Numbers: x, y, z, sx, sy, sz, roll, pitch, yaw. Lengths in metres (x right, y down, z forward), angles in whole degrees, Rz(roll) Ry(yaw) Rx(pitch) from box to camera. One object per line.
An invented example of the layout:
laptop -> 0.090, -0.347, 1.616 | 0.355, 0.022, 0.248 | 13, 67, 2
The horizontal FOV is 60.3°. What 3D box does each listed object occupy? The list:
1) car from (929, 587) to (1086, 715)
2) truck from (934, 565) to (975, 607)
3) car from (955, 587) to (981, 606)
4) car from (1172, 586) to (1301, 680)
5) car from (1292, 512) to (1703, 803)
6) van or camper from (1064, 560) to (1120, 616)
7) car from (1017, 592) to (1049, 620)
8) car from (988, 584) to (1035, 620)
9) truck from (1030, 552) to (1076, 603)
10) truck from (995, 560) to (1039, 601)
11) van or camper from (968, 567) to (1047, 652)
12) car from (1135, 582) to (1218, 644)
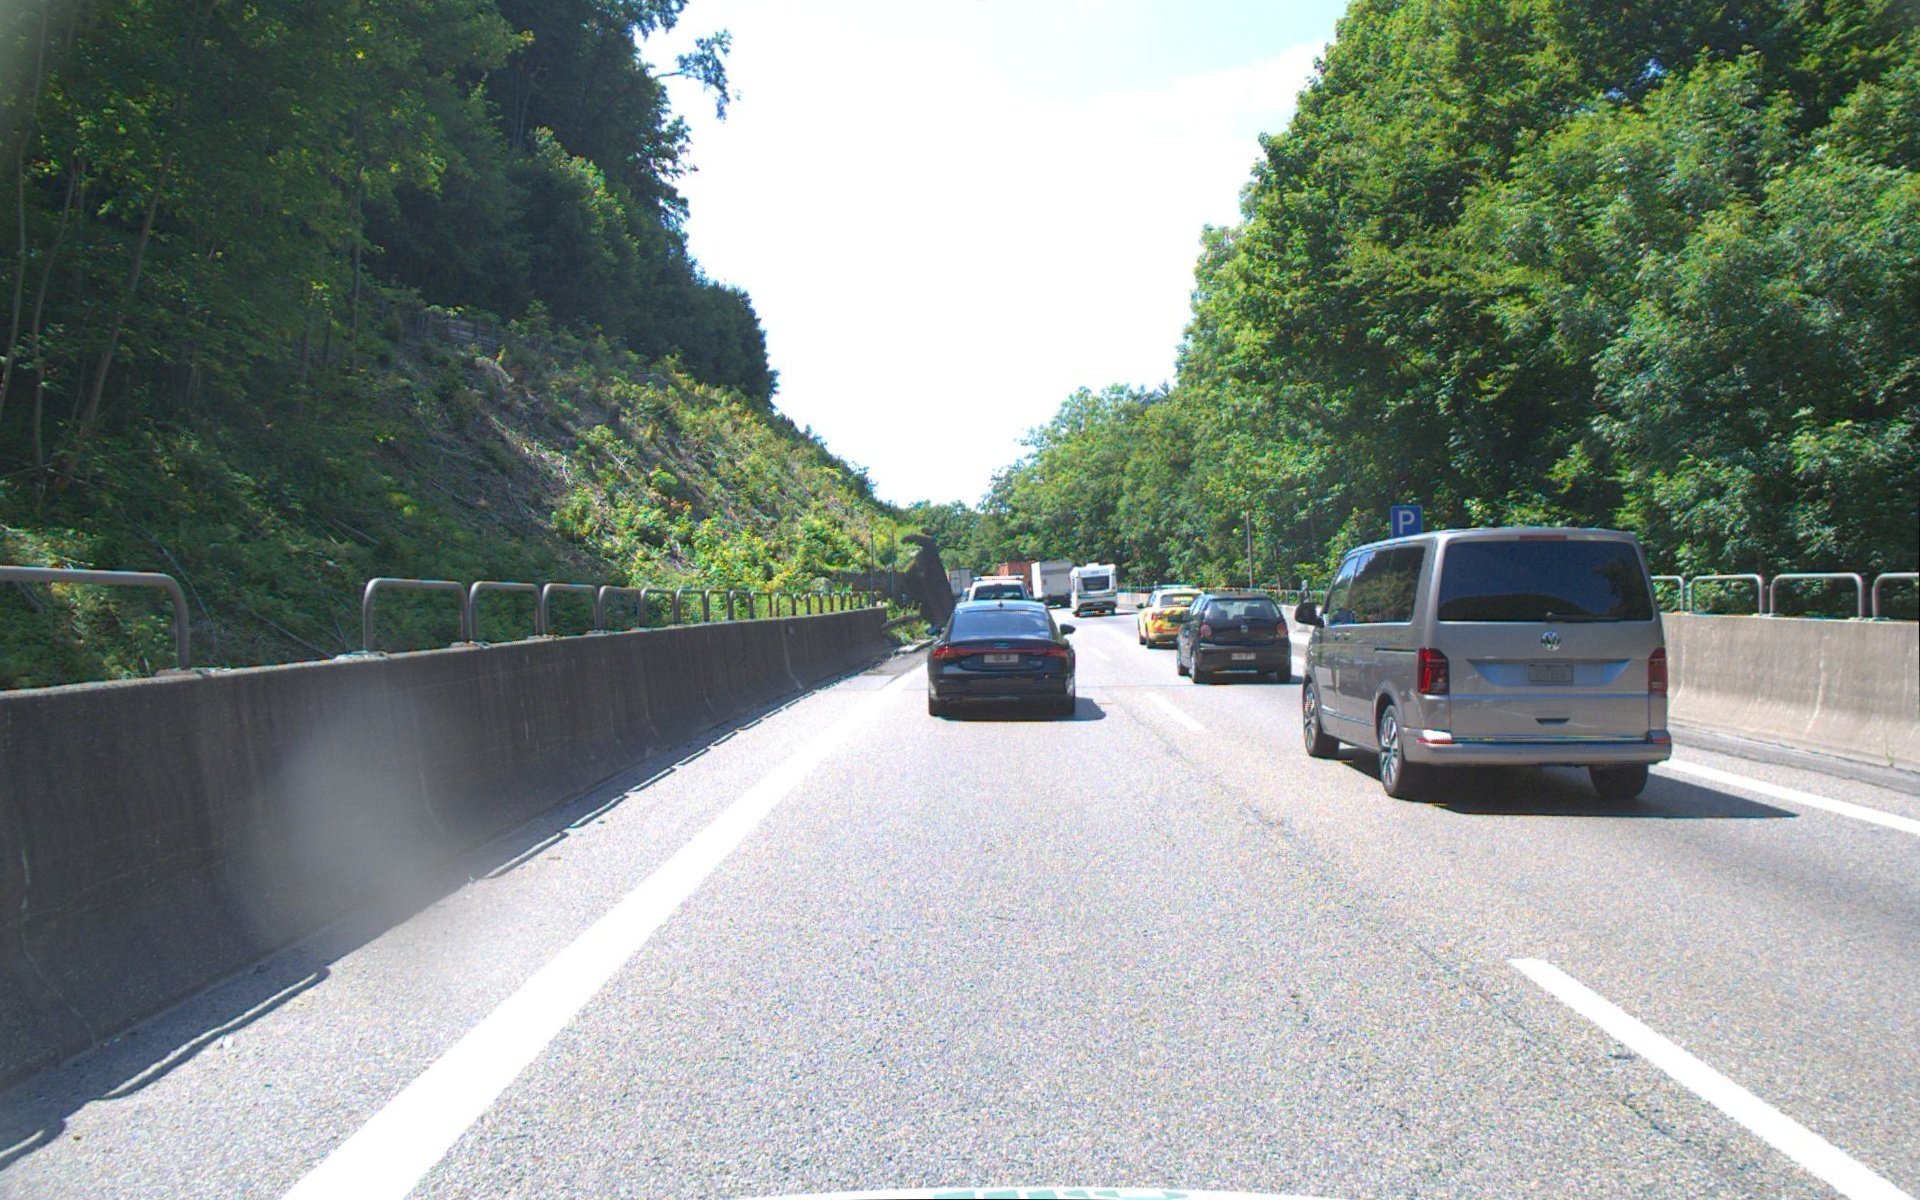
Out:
car -> 0.570, 0.602, 21.864 | 1.866, 1.515, 4.379 | 0, 0, 0
truck -> -0.656, -1.588, 186.618 | 3.641, 4.583, 7.709 | 0, 0, -8
car -> 0.695, -0.309, 142.516 | 1.718, 1.598, 3.763 | 0, 0, -9
car -> 4.622, 0.514, 28.091 | 1.650, 1.484, 4.001 | 0, 0, 2
car -> 4.099, 0.380, 13.510 | 1.900, 1.965, 4.695 | 0, 0, 1
van or camper -> 7.132, -0.659, 89.922 | 2.550, 2.905, 6.336 | 0, 0, 0
car -> 4.244, 0.352, 96.091 | 1.715, 1.598, 3.771 | 0, 0, 0
car -> 2.302, 0.081, 75.202 | 1.857, 1.612, 3.769 | 0, 0, -3
truck -> 7.003, -1.679, 125.366 | 2.866, 3.752, 7.721 | 0, 0, -2
truck -> 4.960, -1.662, 146.380 | 3.101, 3.529, 8.215 | 0, 0, -4
van or camper -> 1.183, 0.213, 40.544 | 1.815, 1.976, 4.166 | 0, 0, 2
car -> 5.489, 0.318, 42.299 | 1.770, 1.503, 4.083 | 0, 0, 2
